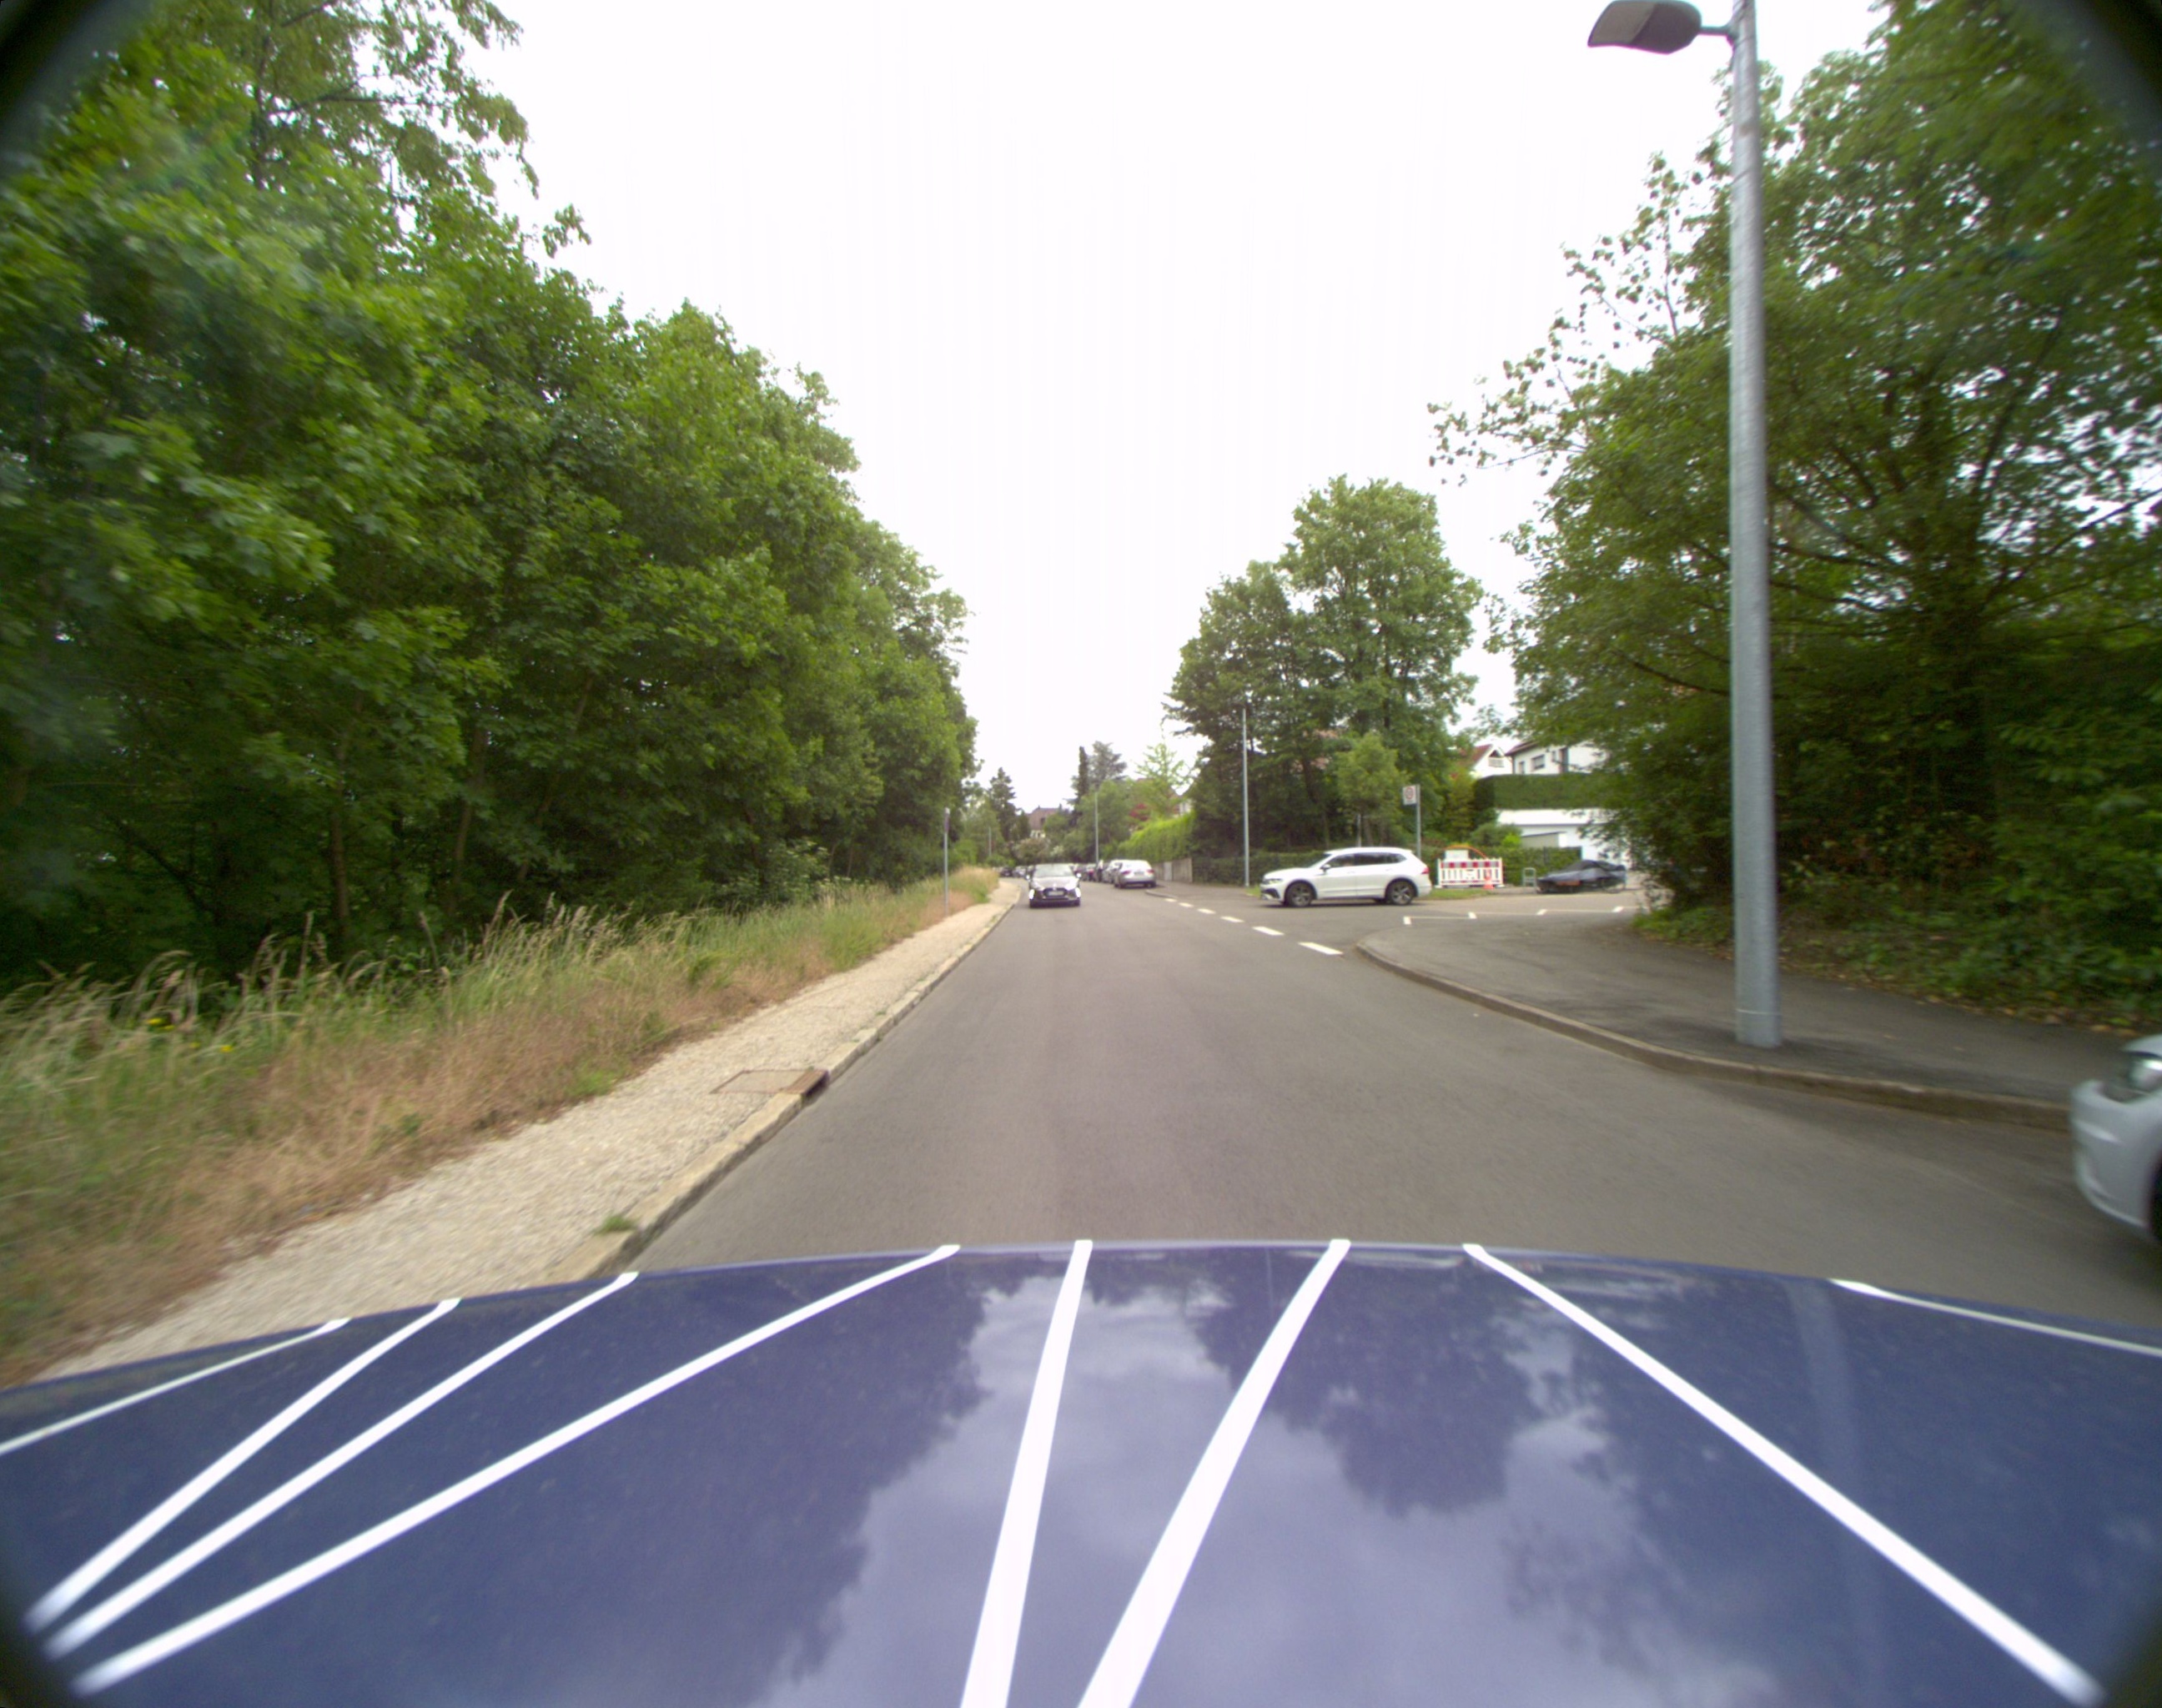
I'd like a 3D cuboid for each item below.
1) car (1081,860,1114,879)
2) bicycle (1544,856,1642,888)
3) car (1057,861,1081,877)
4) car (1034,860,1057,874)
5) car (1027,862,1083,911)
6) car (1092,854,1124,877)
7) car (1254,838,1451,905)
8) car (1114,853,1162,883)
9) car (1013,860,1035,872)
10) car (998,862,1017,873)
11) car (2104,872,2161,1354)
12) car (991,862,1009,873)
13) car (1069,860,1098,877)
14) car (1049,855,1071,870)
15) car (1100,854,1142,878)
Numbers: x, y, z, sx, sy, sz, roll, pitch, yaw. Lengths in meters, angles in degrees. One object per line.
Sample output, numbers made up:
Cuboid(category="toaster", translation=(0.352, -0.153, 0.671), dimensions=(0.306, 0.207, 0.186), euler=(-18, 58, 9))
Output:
Cuboid(category="car", translation=(1.240, 1.148, 58.554), dimensions=(1.717, 1.333, 4.104), euler=(-3, 0, -11))
Cuboid(category="bicycle", translation=(16.548, 0.592, 24.658), dimensions=(2.578, 0.995, 0.654), euler=(-2, 0, 29))
Cuboid(category="car", translation=(-1.139, 1.410, 72.452), dimensions=(1.594, 1.505, 3.587), euler=(-2, 0, -12))
Cuboid(category="car", translation=(-4.003, 1.417, 84.946), dimensions=(1.713, 1.505, 4.358), euler=(-2, 0, -14))
Cuboid(category="car", translation=(-0.851, 1.044, 26.182), dimensions=(1.711, 1.466, 4.195), euler=(-2, 0, -1))
Cuboid(category="car", translation=(1.851, 0.794, 53.285), dimensions=(1.661, 1.524, 4.472), euler=(-3, 0, -6))
Cuboid(category="car", translation=(7.730, 0.477, 22.040), dimensions=(4.947, 1.660, 2.037), euler=(-2, 1, 2))
Cuboid(category="car", translation=(2.866, 0.691, 39.203), dimensions=(1.836, 1.365, 4.444), euler=(-3, 0, -3))
Cuboid(category="car", translation=(-7.083, 1.481, 94.624), dimensions=(1.714, 1.401, 4.154), euler=(-2, 0, -19))
Cuboid(category="car", translation=(-10.326, 1.907, 106.068), dimensions=(1.714, 1.408, 4.126), euler=(-2, 0, -19))
Cuboid(category="car", translation=(4.121, 0.771, 0.383), dimensions=(1.710, 1.459, 4.075), euler=(-2, 0, 0))
Cuboid(category="car", translation=(-11.860, 1.965, 110.533), dimensions=(1.714, 1.408, 4.143), euler=(-2, 0, -19))
Cuboid(category="car", translation=(0.186, 1.214, 64.730), dimensions=(1.724, 1.376, 4.660), euler=(-2, 0, -9))
Cuboid(category="car", translation=(-2.158, 0.867, 77.443), dimensions=(1.549, 1.505, 3.640), euler=(-2, 0, -14))
Cuboid(category="car", translation=(2.453, 0.733, 47.341), dimensions=(1.780, 1.365, 4.338), euler=(-3, 0, -8))
